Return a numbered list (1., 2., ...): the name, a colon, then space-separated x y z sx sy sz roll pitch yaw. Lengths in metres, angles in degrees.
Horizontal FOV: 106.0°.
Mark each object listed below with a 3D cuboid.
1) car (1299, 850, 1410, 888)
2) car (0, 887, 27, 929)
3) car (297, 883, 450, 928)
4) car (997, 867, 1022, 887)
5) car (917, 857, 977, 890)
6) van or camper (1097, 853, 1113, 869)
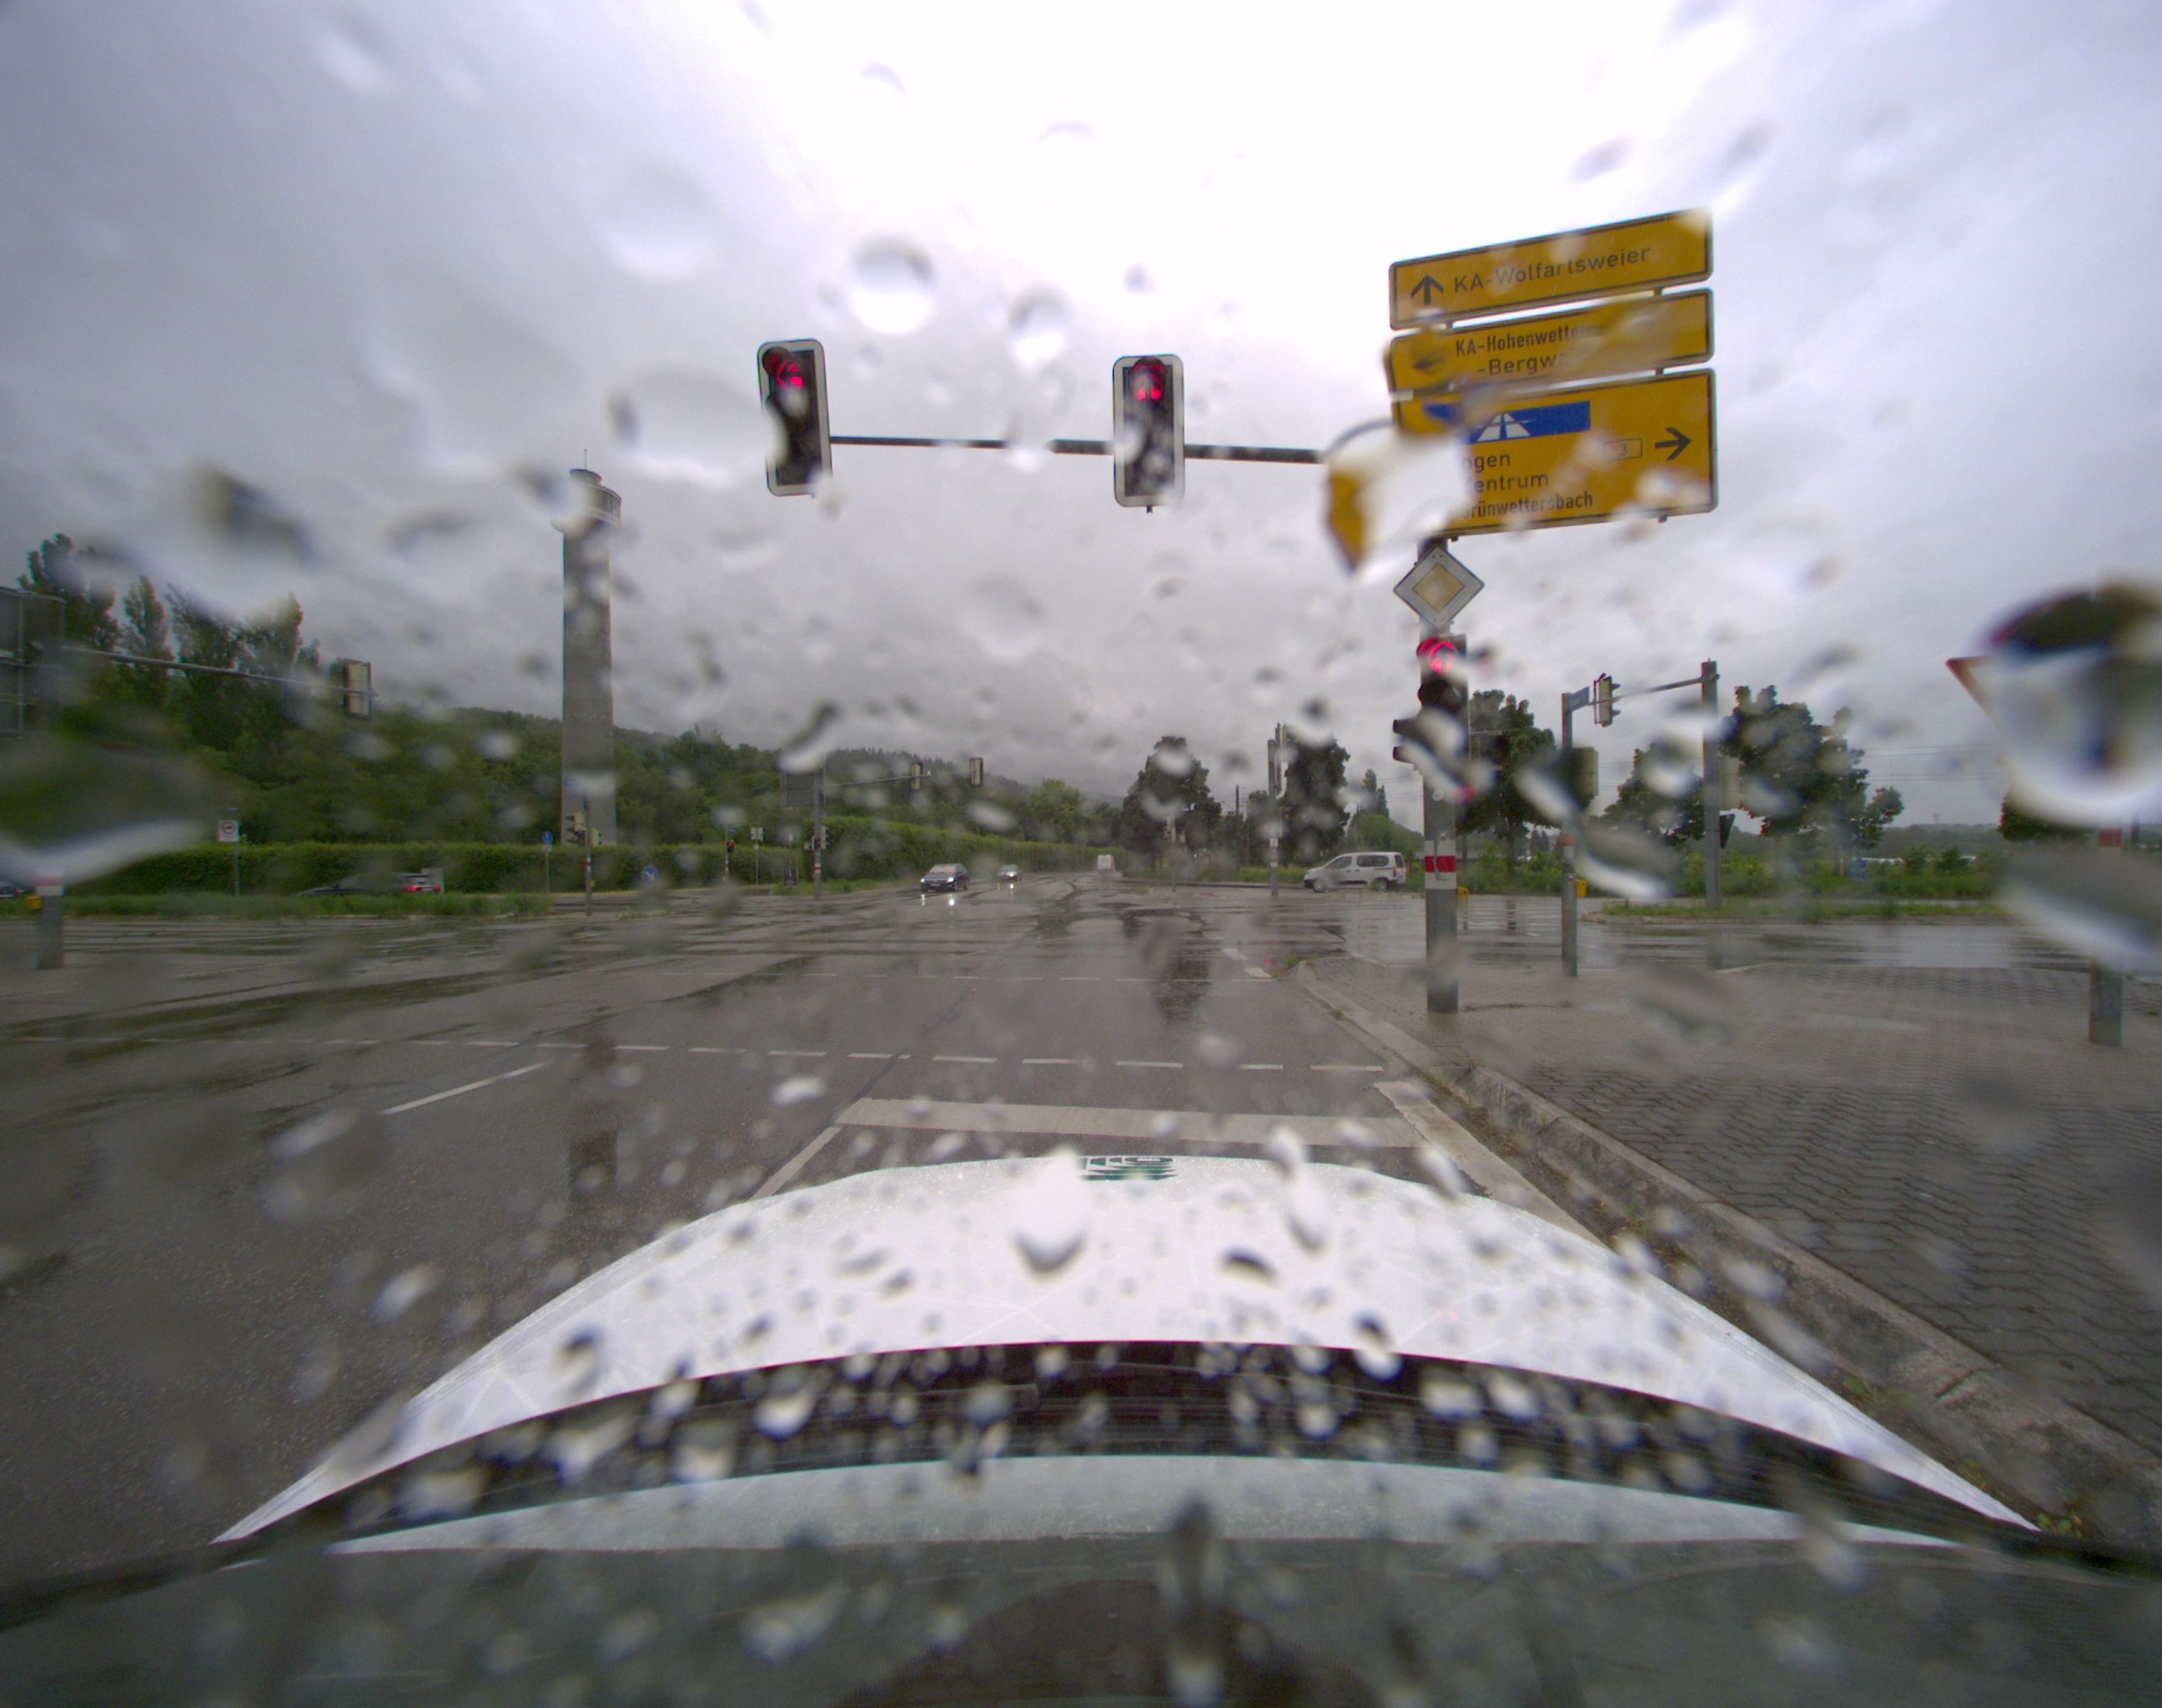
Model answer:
1. car: 12.107 0.668 36.175 4.291 1.553 1.834 -1 0 35
2. car: -43.340 2.130 30.846 4.649 1.553 1.824 -1 0 3
3. car: -27.514 1.998 31.741 4.644 1.553 1.826 -1 0 7
4. car: -5.674 1.819 65.274 1.552 1.481 3.363 -1 0 2
5. car: -7.165 1.023 44.013 1.869 1.573 4.654 -3 0 7
6. van or camper: 3.386 0.958 113.468 2.145 2.169 4.867 -1 0 2
